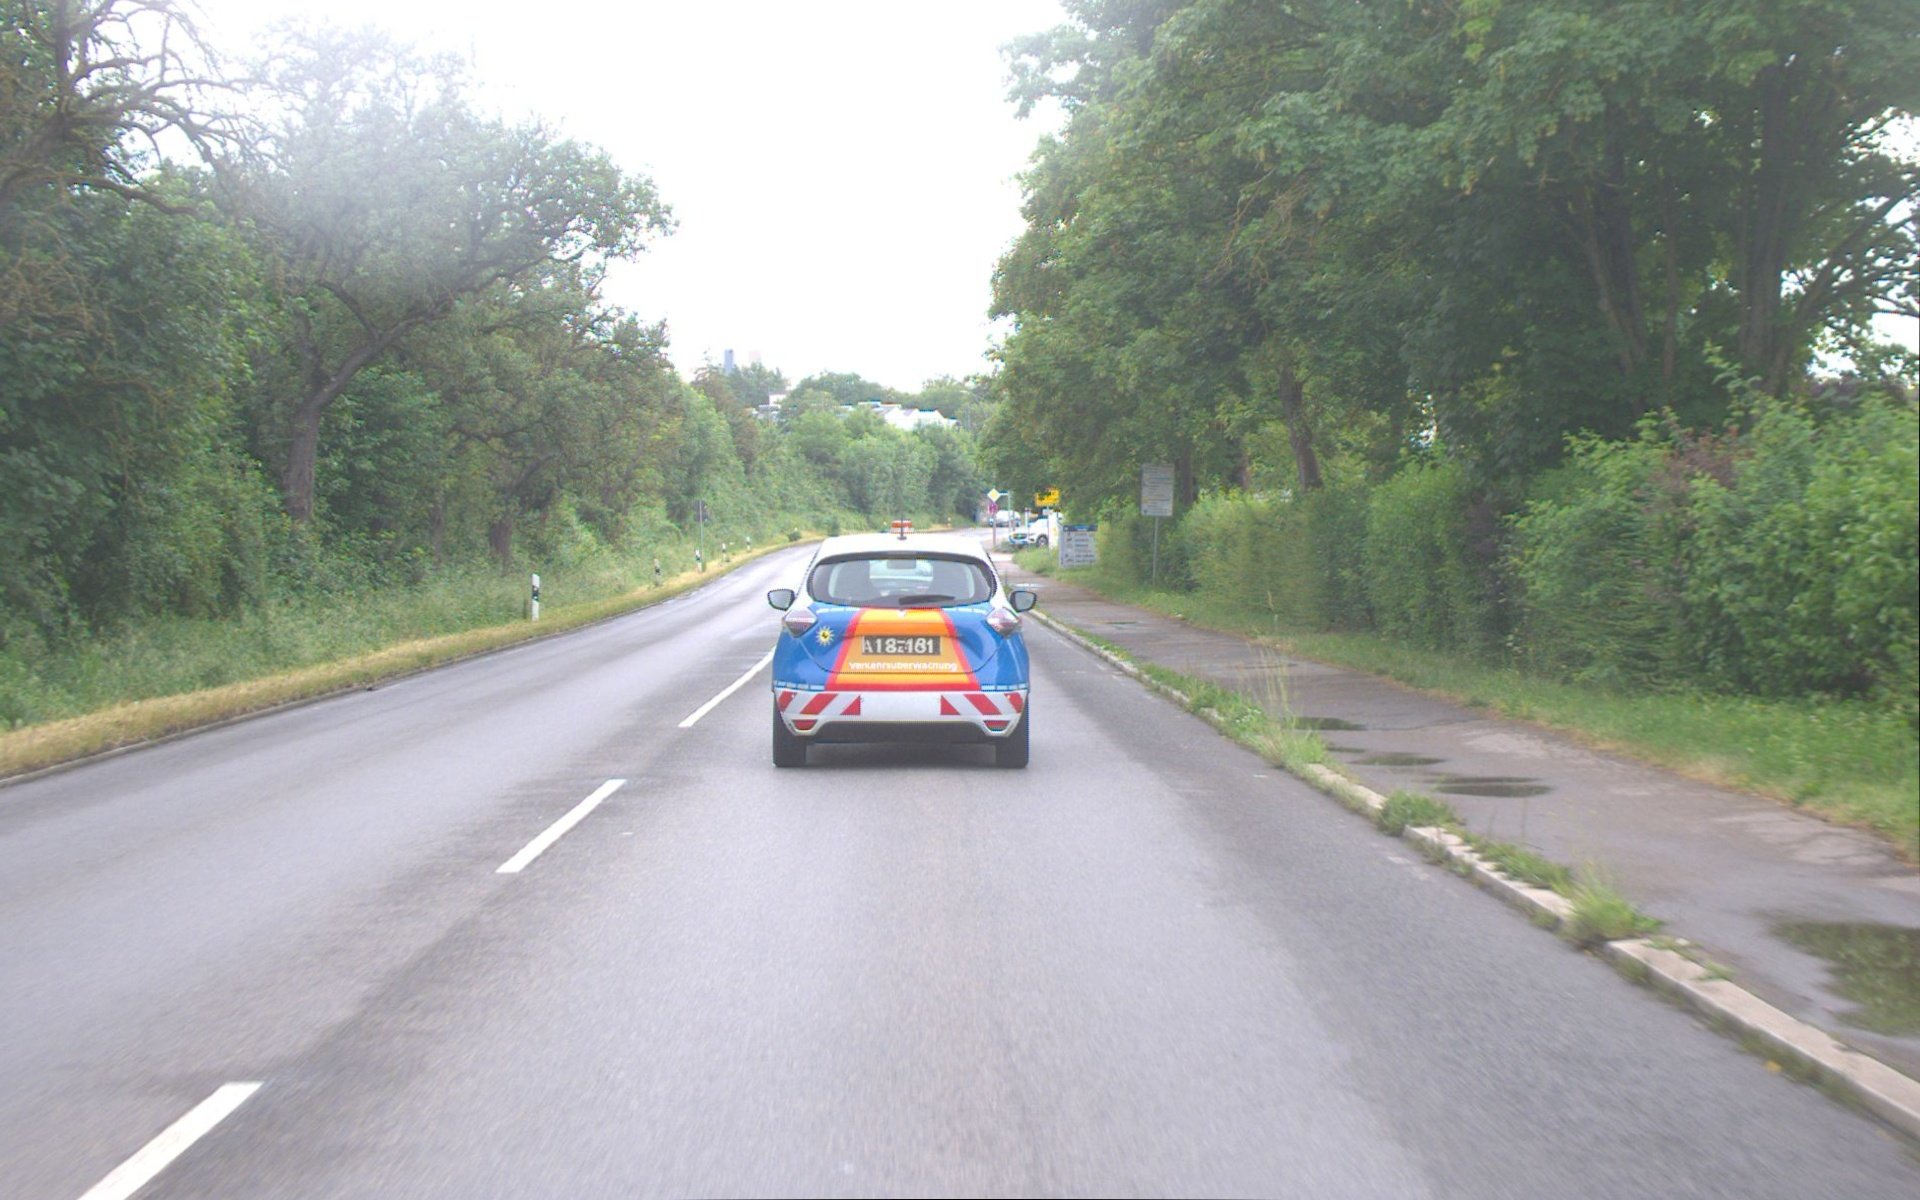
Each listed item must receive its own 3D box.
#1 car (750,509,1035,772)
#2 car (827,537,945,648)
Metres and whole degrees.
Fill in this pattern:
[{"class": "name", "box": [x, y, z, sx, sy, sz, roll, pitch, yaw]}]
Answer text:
[{"class": "car", "box": [-0.469, 0.233, 24.036, 1.806, 1.662, 3.856, 1, 1, -1]}, {"class": "car", "box": [-1.123, -0.138, 52.227, 1.694, 1.590, 3.856, 1, 1, -1]}]
